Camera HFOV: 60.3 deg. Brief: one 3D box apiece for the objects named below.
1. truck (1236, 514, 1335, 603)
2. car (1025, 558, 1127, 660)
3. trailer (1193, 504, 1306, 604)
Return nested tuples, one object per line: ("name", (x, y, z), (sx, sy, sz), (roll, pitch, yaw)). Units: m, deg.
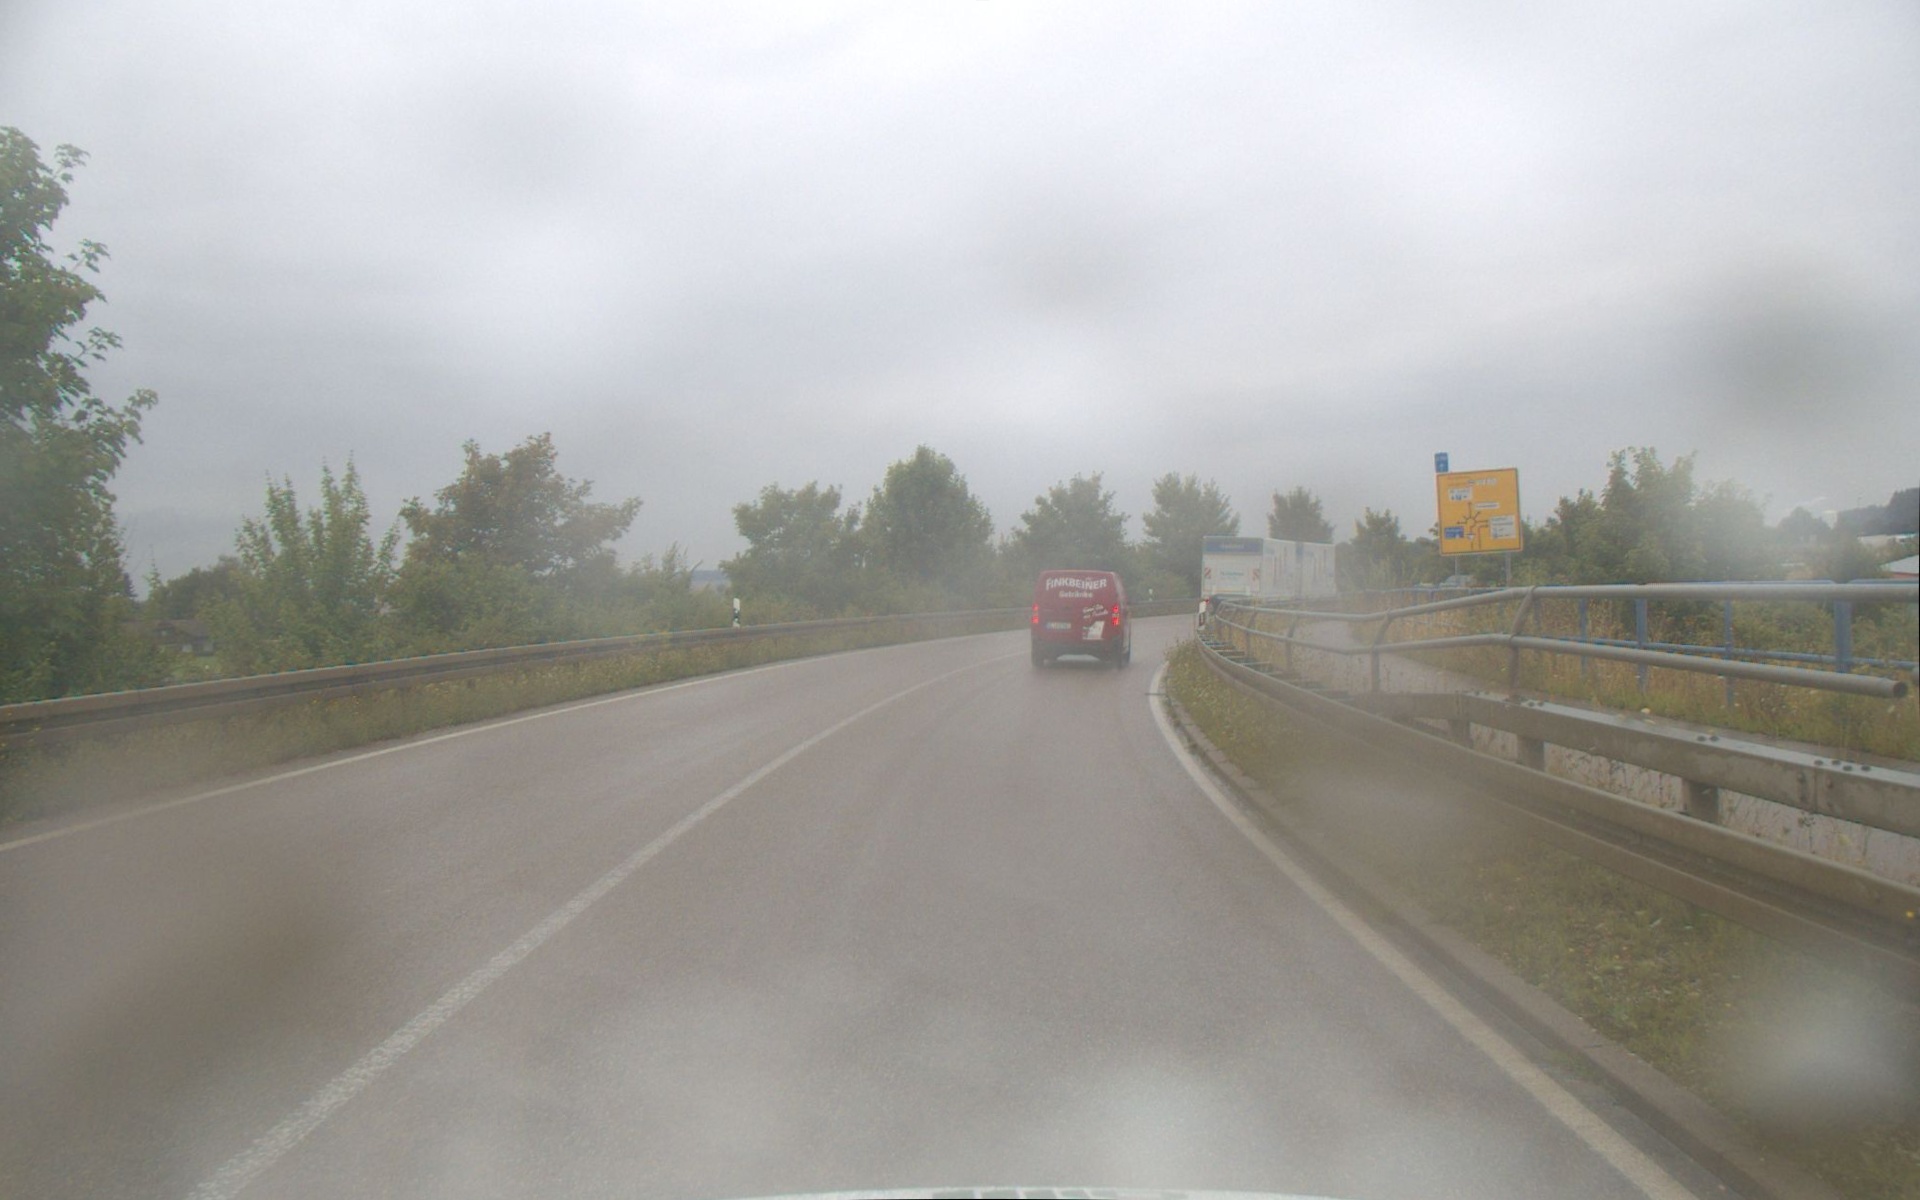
("truck", (15.644, -1.919, 78.884), (3.135, 3.990, 8.740), (1, 1, 21))
("car", (2.460, 0.134, 34.247), (1.951, 1.959, 4.146), (-1, 1, 6))
("trailer", (12.503, -1.873, 70.741), (3.135, 3.990, 8.740), (1, 1, 21))
